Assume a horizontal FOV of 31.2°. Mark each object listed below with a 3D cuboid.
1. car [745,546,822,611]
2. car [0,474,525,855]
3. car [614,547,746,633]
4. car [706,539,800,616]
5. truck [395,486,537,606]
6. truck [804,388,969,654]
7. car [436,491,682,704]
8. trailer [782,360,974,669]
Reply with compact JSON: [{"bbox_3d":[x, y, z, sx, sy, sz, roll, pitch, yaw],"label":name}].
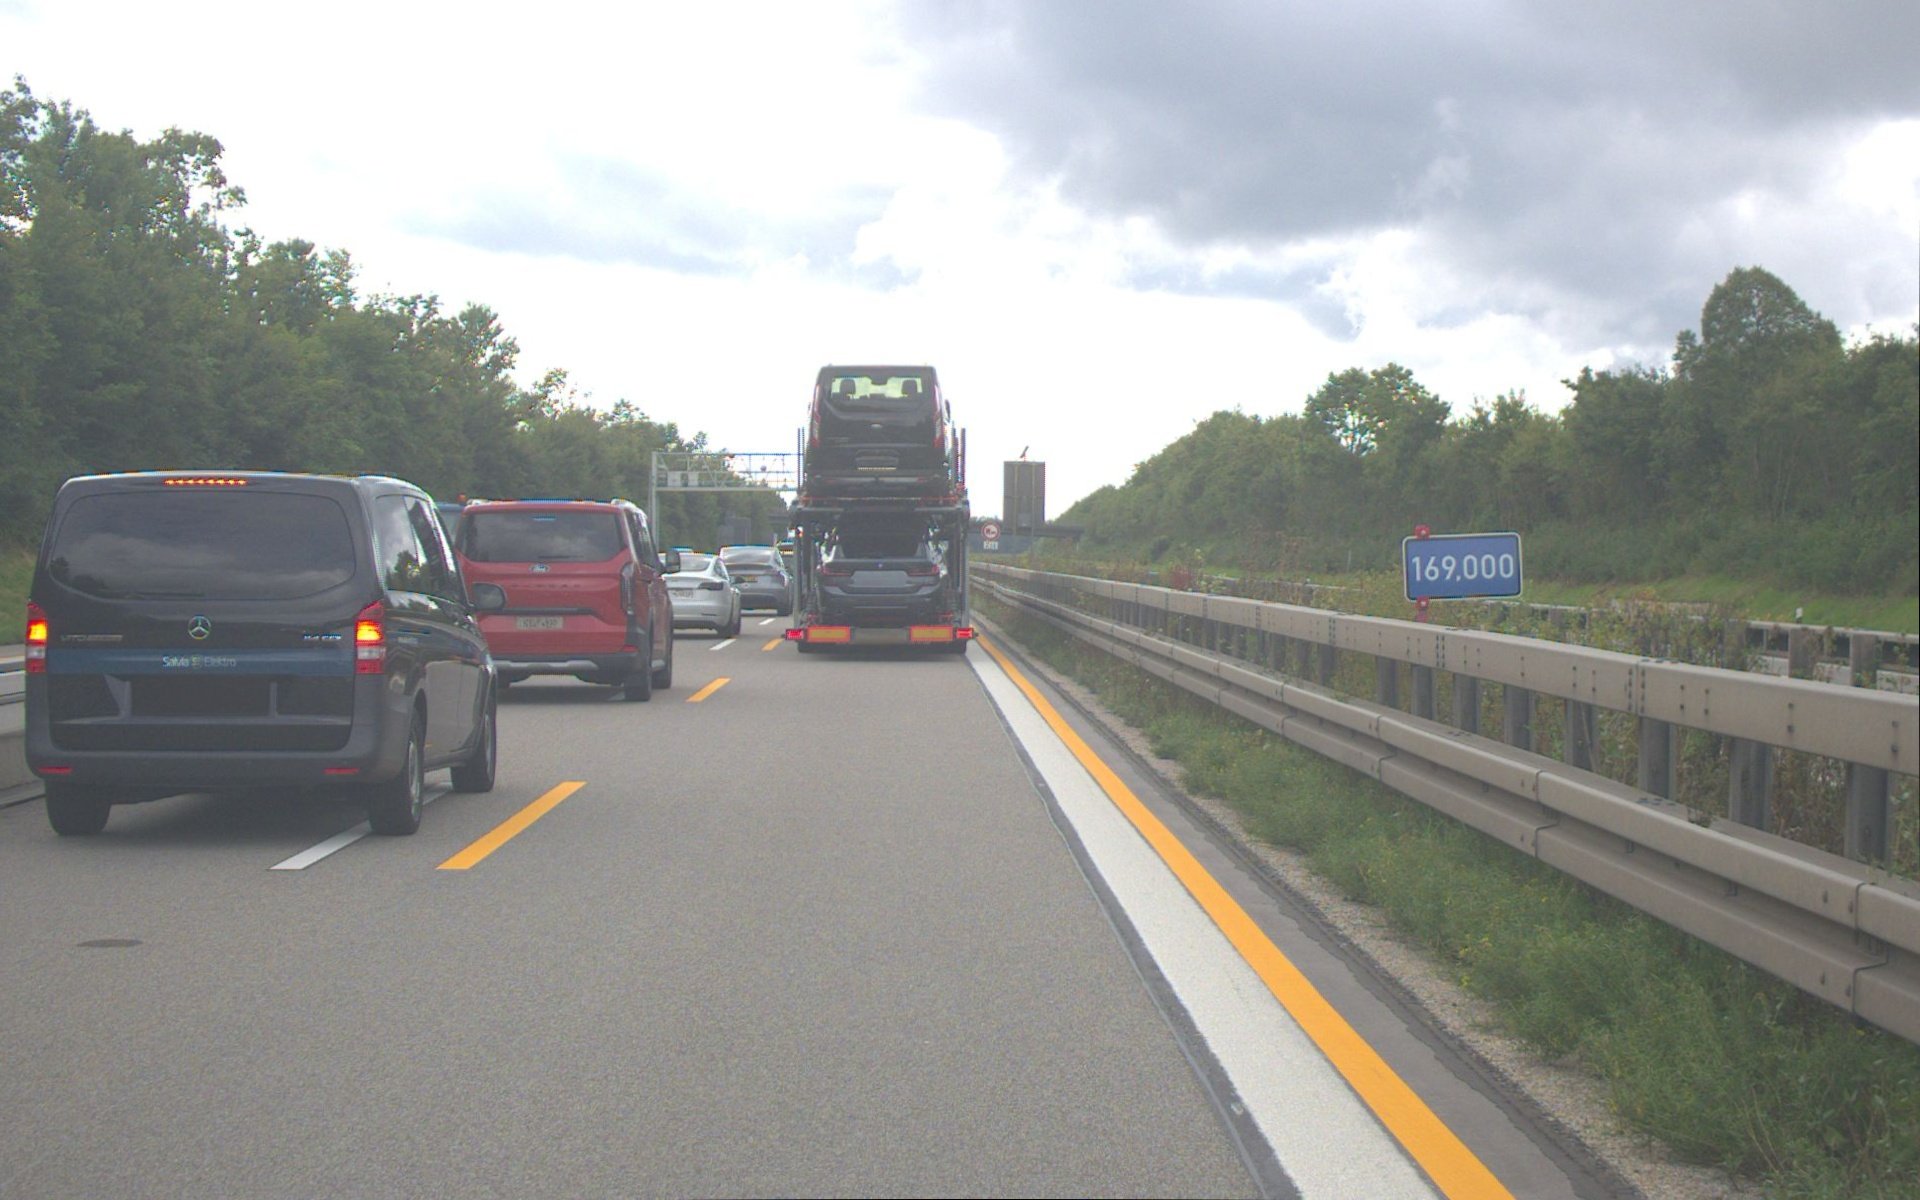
[{"bbox_3d":[-4.793,-0.601,93.785,2.031,1.751,4.578,0,1,-2],"label":"car"},{"bbox_3d":[-3.763,0.275,19.375,1.993,1.837,5.610,0,1,-1],"label":"car"},{"bbox_3d":[-4.796,-0.200,59.459,2.031,1.426,4.578,0,1,-2],"label":"car"},{"bbox_3d":[-4.765,-0.534,79.759,2.031,1.751,4.578,0,1,-2],"label":"car"},{"bbox_3d":[-11.737,-1.285,82.214,2.490,2.708,6.667,1,1,-1],"label":"truck"},{"bbox_3d":[-1.158,-1.254,56.119,2.515,4.091,5.685,1,1,0],"label":"truck"},{"bbox_3d":[-3.975,-0.048,34.763,2.031,2.007,4.578,0,1,-1],"label":"car"},{"bbox_3d":[-1.131,-1.205,51.395,2.515,4.091,11.114,1,1,0],"label":"trailer"}]
